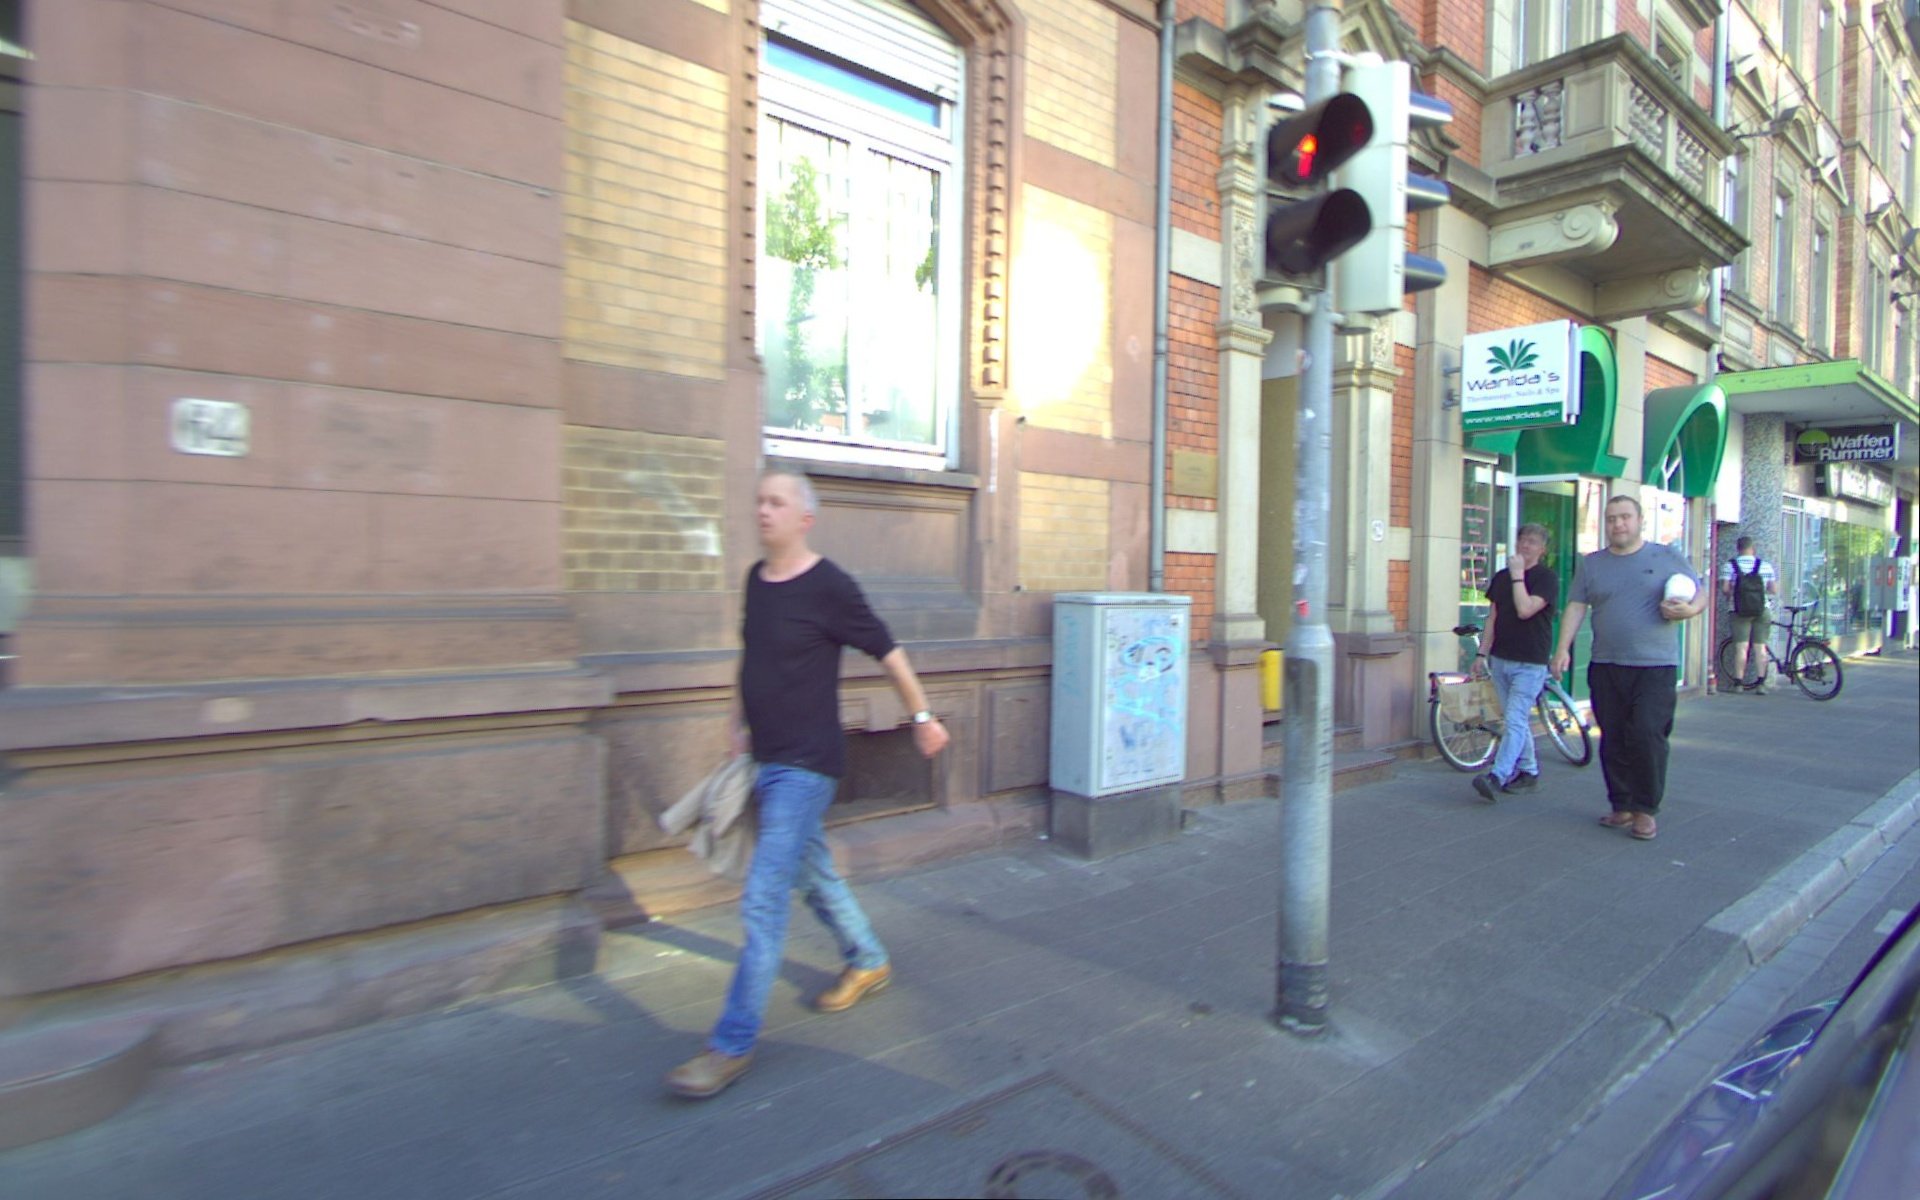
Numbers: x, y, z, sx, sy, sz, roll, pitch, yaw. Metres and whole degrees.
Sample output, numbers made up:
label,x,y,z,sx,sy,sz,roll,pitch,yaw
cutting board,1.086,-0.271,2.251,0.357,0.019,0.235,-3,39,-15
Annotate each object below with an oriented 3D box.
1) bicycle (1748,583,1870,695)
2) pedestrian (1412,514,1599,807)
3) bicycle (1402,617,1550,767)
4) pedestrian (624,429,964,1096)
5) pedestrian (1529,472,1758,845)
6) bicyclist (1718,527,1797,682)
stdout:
label,x,y,z,sx,sy,sz,roll,pitch,yaw
bicycle,10.601,0.435,12.710,0.661,1.269,1.879,1,2,25
pedestrian,3.520,0.336,6.548,0.741,1.744,0.778,0,3,-39
bicycle,3.847,0.653,7.529,1.215,1.008,0.346,0,3,-30
pedestrian,-0.538,0.406,3.166,0.741,1.744,0.778,0,3,-39
pedestrian,3.864,0.279,5.742,0.741,1.917,0.824,0,3,-38
bicyclist,10.149,0.046,12.902,0.593,1.905,0.738,1,1,25
